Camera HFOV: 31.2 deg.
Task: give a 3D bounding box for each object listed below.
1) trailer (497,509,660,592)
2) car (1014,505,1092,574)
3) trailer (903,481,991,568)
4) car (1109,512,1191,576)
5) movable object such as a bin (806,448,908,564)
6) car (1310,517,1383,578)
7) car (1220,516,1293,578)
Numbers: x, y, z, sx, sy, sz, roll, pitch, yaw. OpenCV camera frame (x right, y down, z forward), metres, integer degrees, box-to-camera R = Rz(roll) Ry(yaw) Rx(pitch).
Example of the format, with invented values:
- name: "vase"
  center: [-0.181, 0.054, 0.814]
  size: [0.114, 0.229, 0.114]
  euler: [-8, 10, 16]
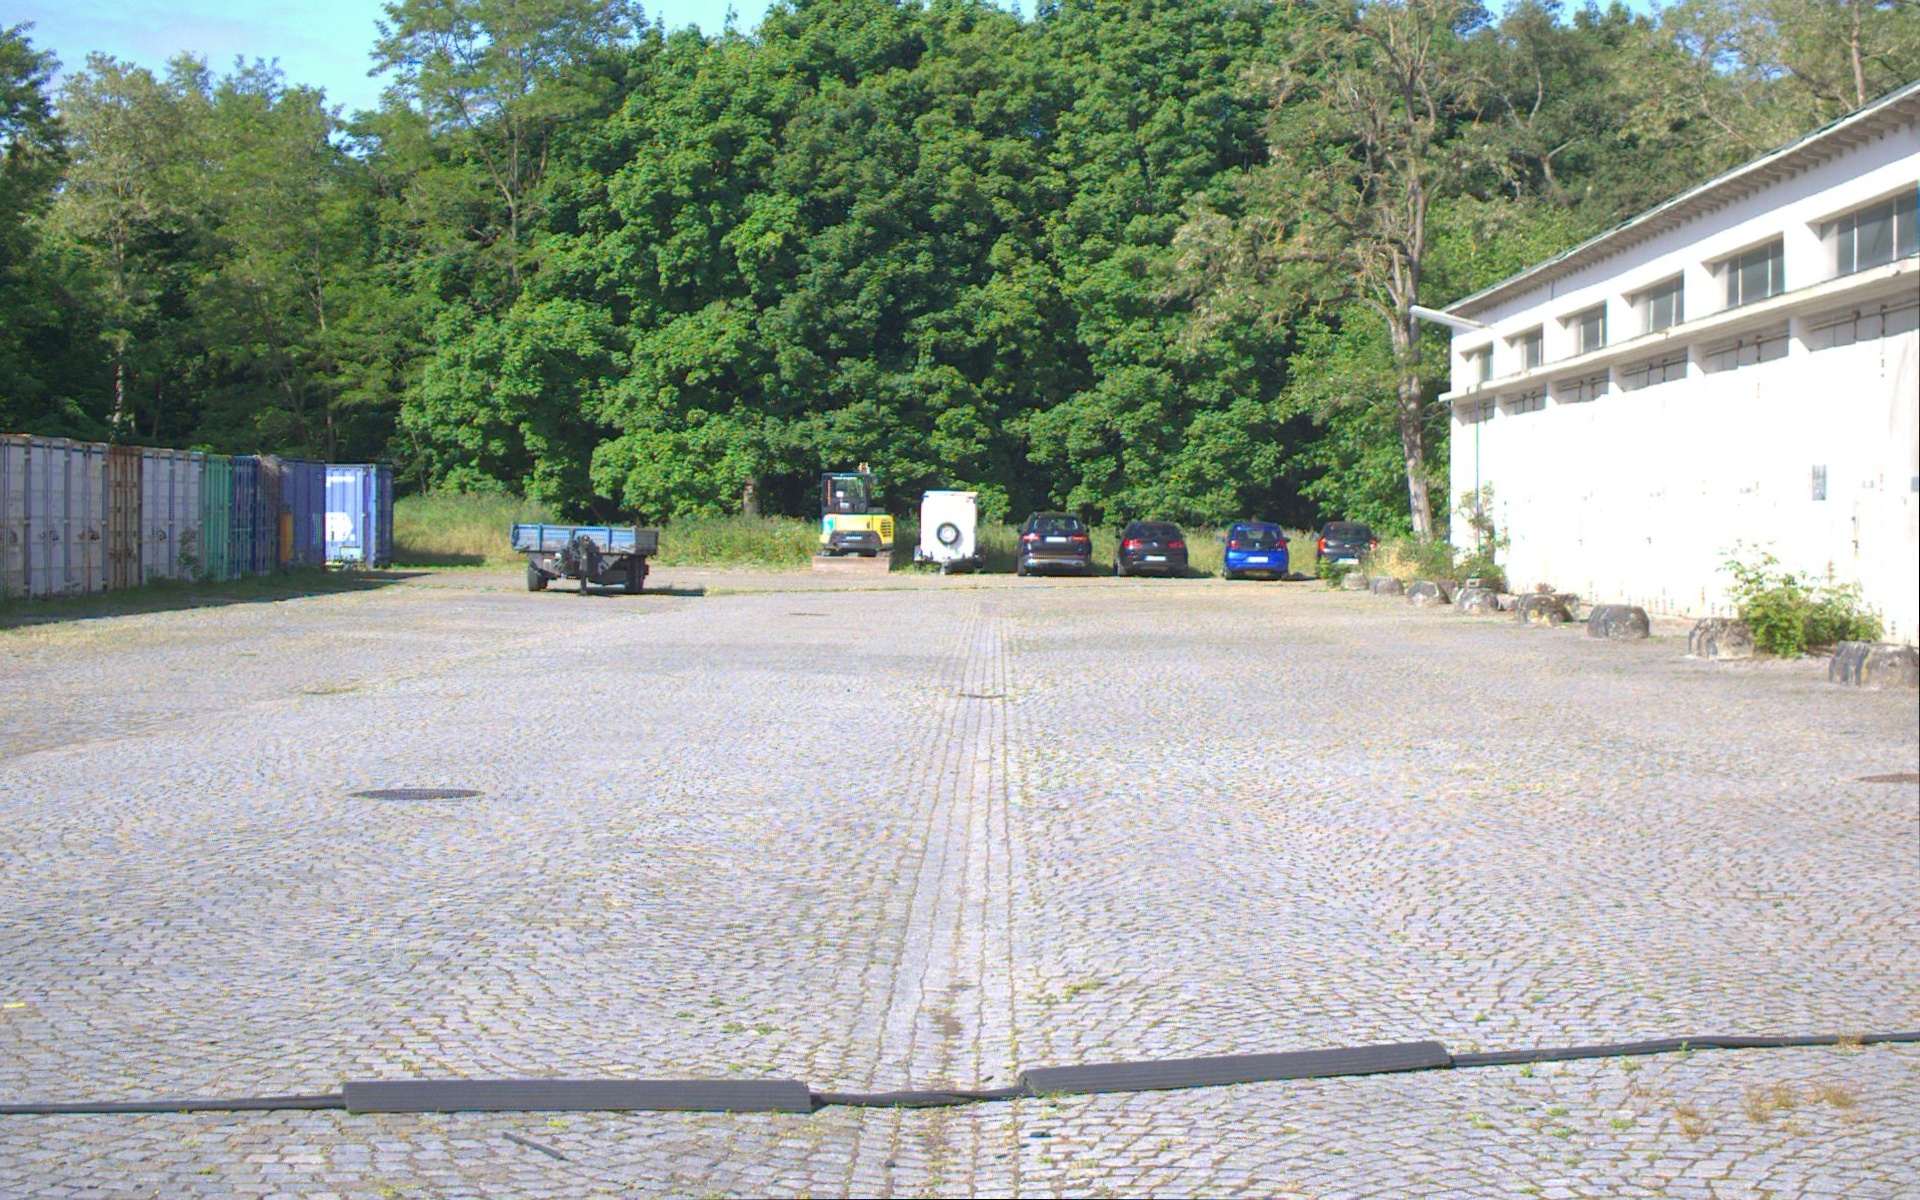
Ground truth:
- name: "trailer"
  center: [-7.743, -1.050, 70.462]
  size: [2.705, 1.460, 6.248]
  euler: [2, 2, -1]
- name: "car"
  center: [2.364, -1.567, 87.987]
  size: [1.863, 1.583, 4.296]
  euler: [2, 3, 0]
- name: "trailer"
  center: [-0.311, -2.031, 90.405]
  size: [2.193, 2.087, 5.752]
  euler: [2, 3, 0]
- name: "car"
  center: [4.856, -1.456, 88.312]
  size: [1.863, 1.465, 4.296]
  euler: [2, 3, 0]
- name: "movable object such as a bin"
  center: [-2.678, -2.538, 91.028]
  size: [2.306, 2.886, 5.751]
  euler: [2, 3, 1]
- name: "car"
  center: [10.090, -1.388, 89.567]
  size: [1.744, 1.431, 4.182]
  euler: [2, 3, 7]
- name: "car"
  center: [7.623, -1.377, 88.203]
  size: [1.744, 1.431, 4.182]
  euler: [2, 3, 6]
